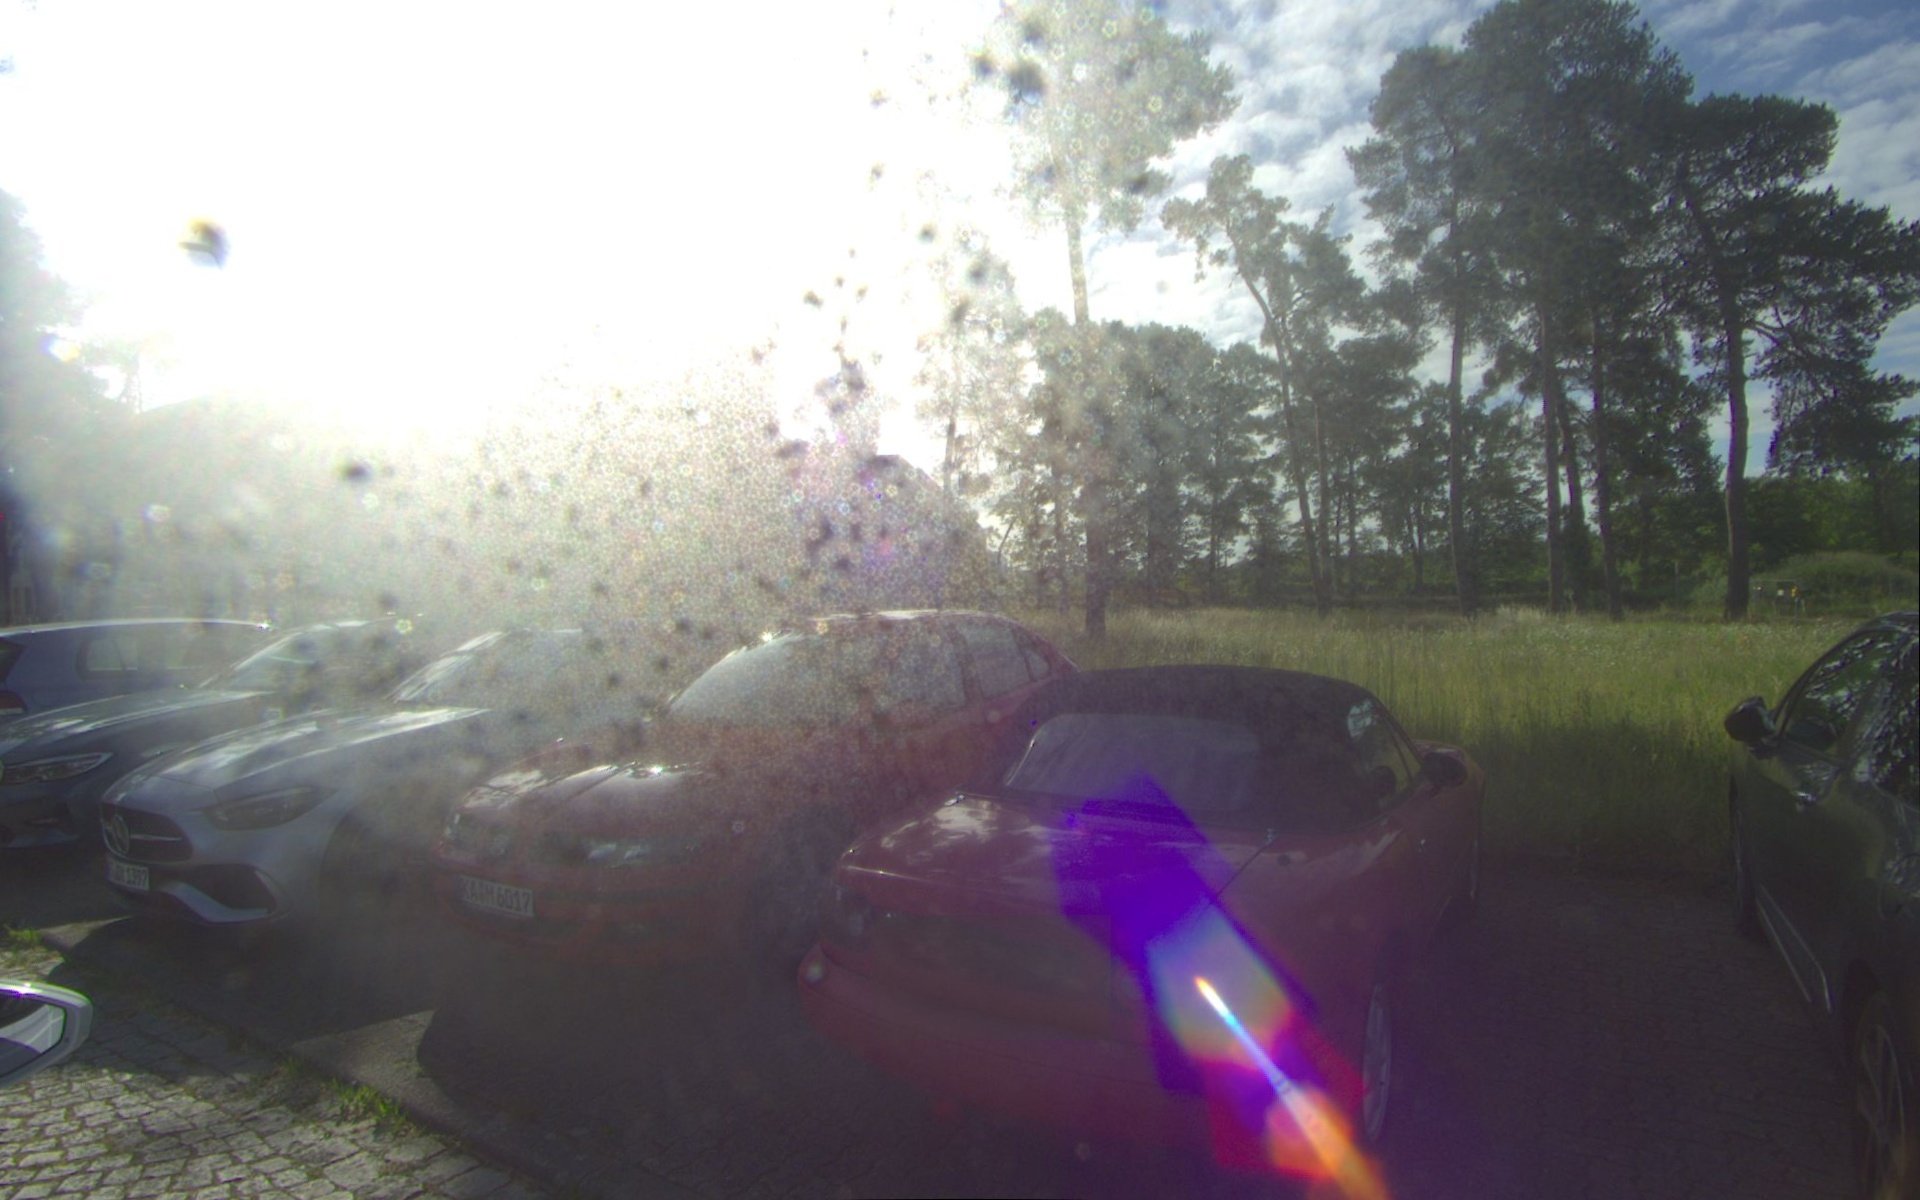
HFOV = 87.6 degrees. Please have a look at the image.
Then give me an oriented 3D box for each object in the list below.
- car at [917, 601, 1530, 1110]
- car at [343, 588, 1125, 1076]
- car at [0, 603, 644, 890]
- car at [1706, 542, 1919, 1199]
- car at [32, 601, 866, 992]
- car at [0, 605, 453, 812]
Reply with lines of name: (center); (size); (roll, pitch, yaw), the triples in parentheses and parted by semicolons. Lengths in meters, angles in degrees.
car: (1.572, 0.690, 4.688); (1.722, 1.240, 3.697); (0, 2, 33)
car: (-0.694, 0.728, 5.360); (1.613, 1.469, 4.116); (0, 2, 33)
car: (-4.852, 0.826, 7.816); (1.613, 1.434, 4.547); (0, 2, 33)
car: (3.443, 0.565, 2.861); (1.790, 1.469, 3.698); (0, 2, 32)
car: (-2.661, 0.800, 6.367); (1.755, 1.434, 4.420); (0, 2, 33)
car: (-7.077, 0.838, 9.354); (1.613, 1.434, 3.872); (0, 2, 33)
